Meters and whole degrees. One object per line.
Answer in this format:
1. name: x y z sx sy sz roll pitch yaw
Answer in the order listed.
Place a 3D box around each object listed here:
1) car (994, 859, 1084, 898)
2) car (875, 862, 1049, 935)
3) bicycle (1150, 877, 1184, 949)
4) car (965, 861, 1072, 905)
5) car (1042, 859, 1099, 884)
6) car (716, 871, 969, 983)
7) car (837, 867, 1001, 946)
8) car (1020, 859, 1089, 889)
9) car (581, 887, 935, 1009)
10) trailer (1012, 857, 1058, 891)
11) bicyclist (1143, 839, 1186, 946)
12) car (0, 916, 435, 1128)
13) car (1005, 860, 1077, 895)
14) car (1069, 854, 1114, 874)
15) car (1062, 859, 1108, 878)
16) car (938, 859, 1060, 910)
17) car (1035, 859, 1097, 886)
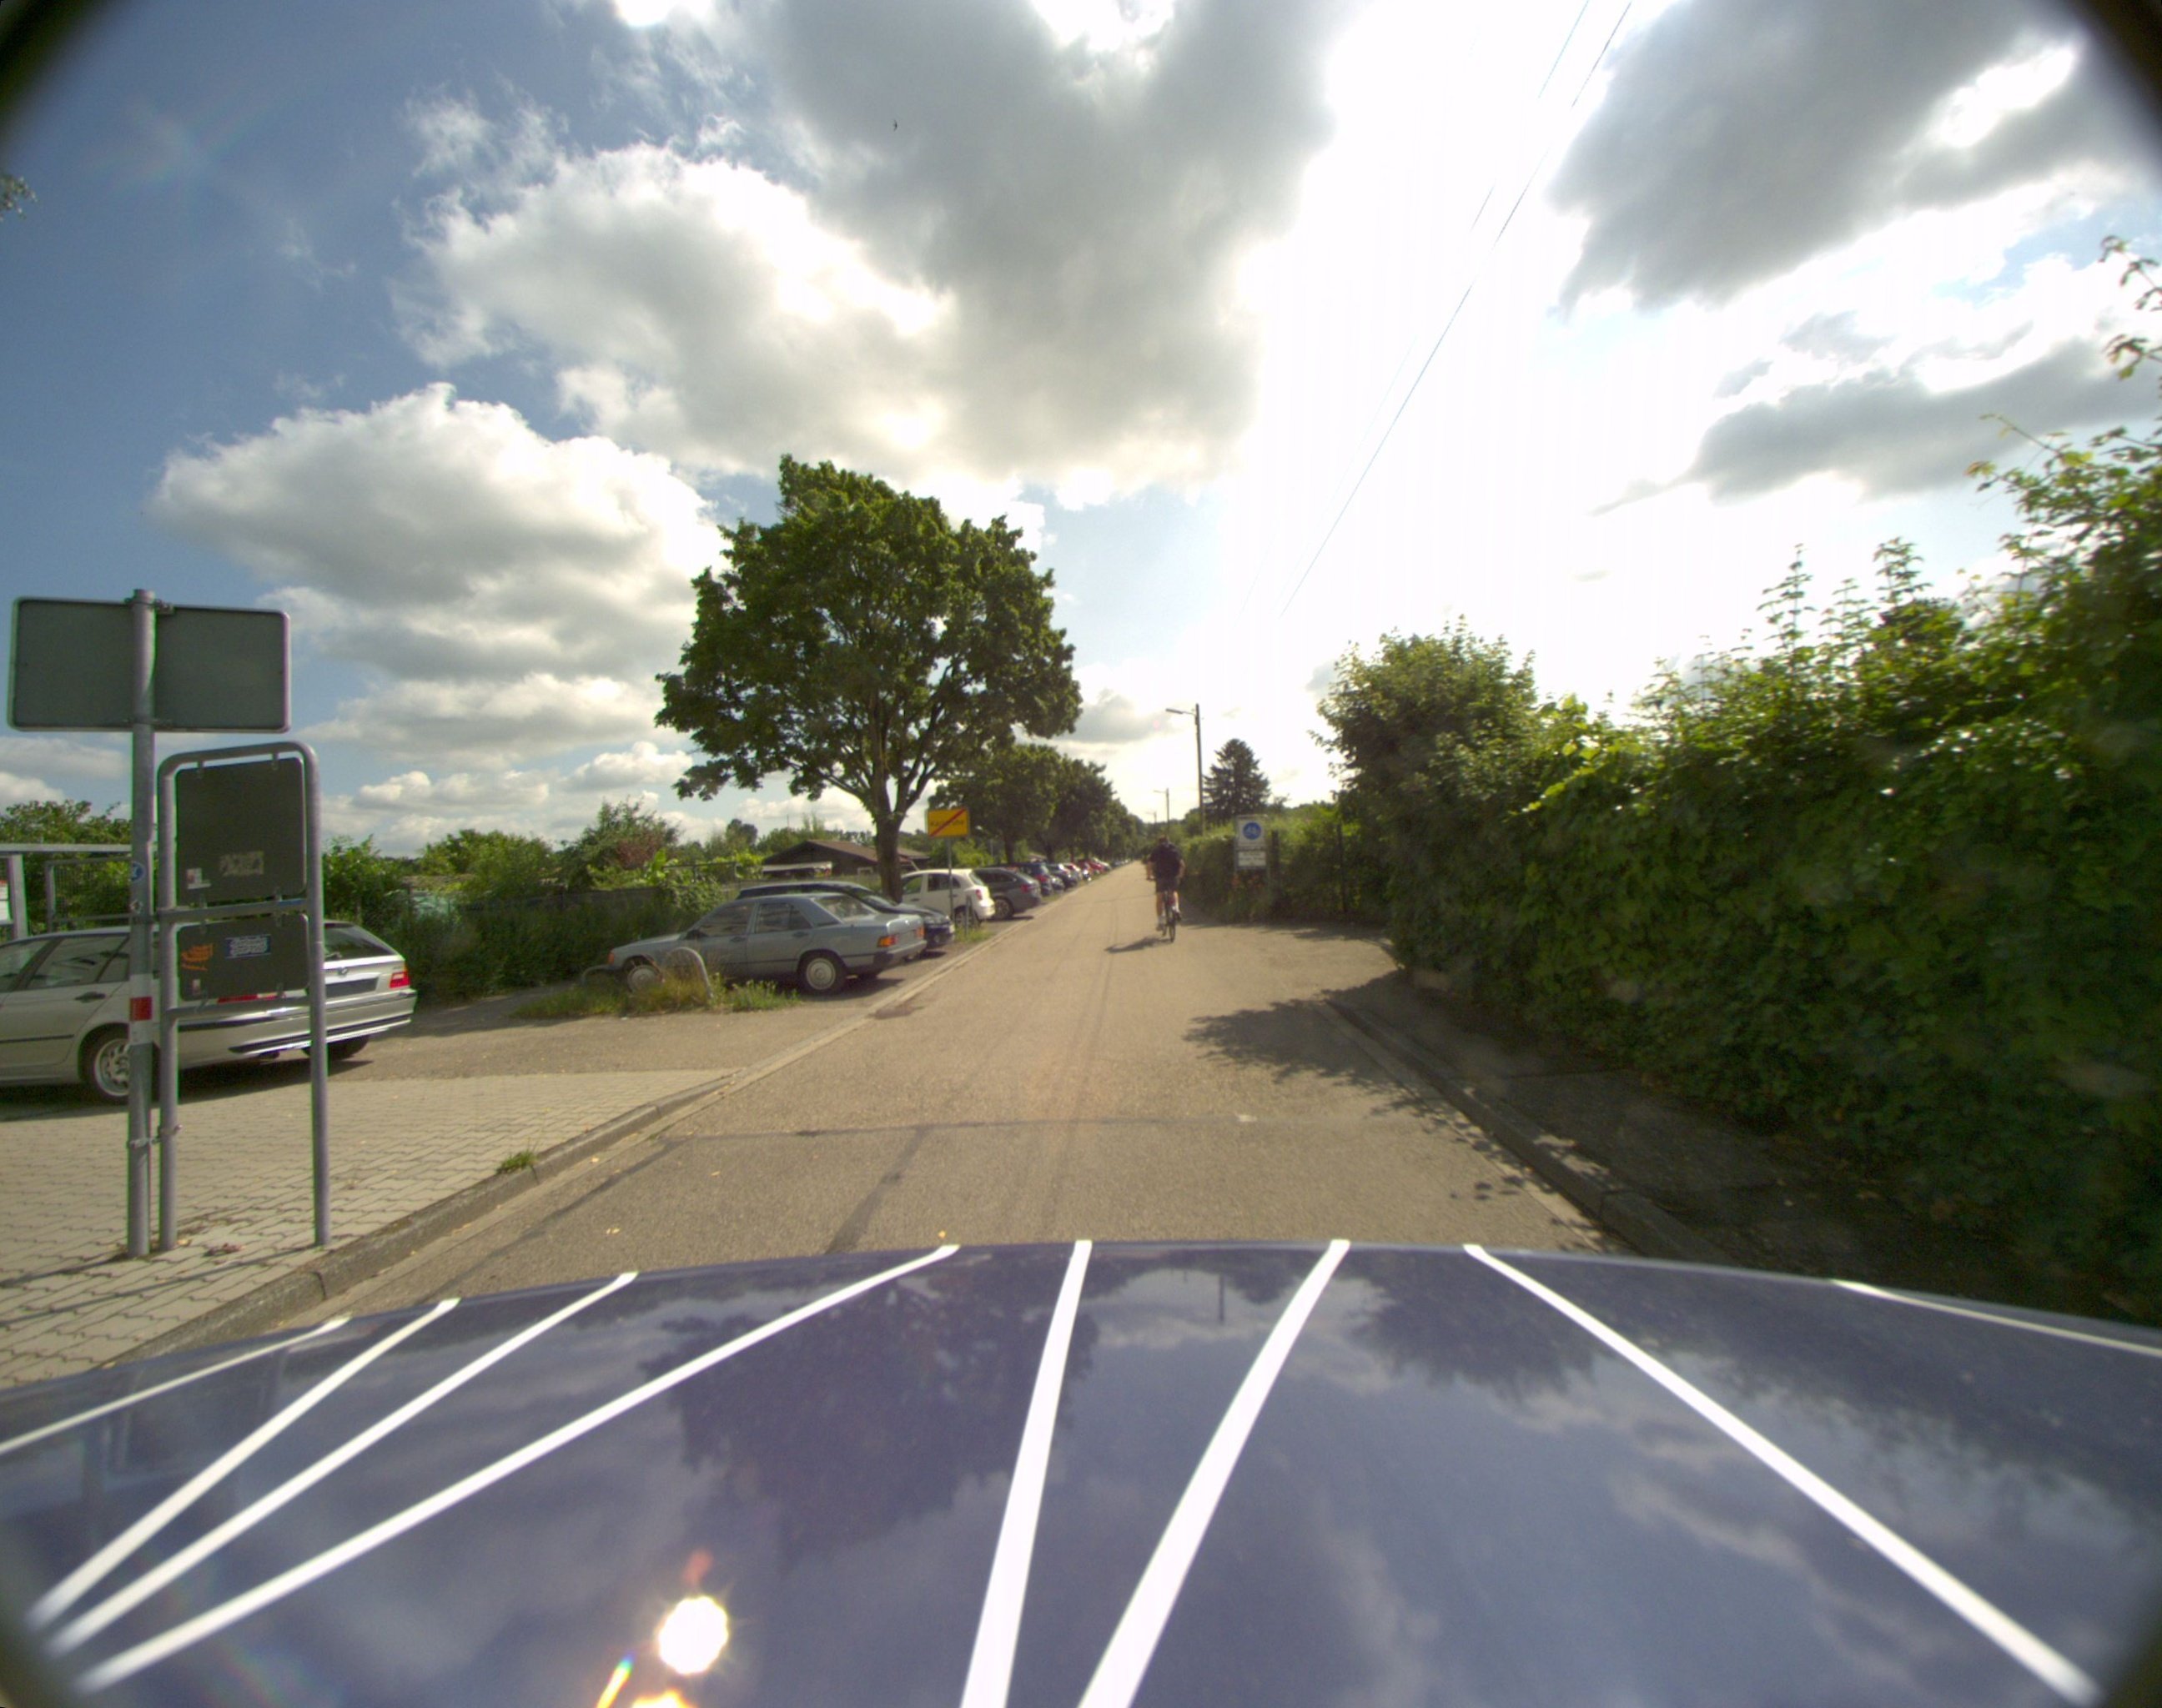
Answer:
1. car: -2.110 1.241 39.088 4.312 1.584 2.000 -5 0 4
2. car: -3.306 1.230 21.757 4.560 1.569 1.809 -5 0 1
3. bicycle: 1.560 1.024 13.691 0.519 1.143 1.828 -2 0 7
4. car: -2.705 1.249 33.612 4.345 1.483 1.976 -5 0 4
5. car: -0.791 1.336 58.978 3.995 1.510 1.855 -5 0 8
6. car: -4.271 1.290 14.063 3.942 1.550 1.868 -5 0 3
7. car: -3.955 1.275 18.947 3.582 1.540 1.667 -5 0 1
8. car: -1.680 1.270 48.845 4.073 1.502 1.959 -5 0 7
9. car: -4.537 1.318 10.970 4.367 1.384 1.719 -3 0 9
10. trailer: -2.692 1.177 44.680 2.456 1.710 1.518 -5 -1 1
11. bicyclist: 1.516 0.671 13.706 0.660 1.841 1.043 -2 0 7
12. car: -8.577 1.404 6.741 4.250 1.422 1.759 -2 0 4
13. car: -2.158 1.271 41.746 3.732 1.531 1.850 -5 0 1
14. car: 1.177 1.084 81.420 4.645 1.875 2.112 -3 0 3
15. car: 0.378 1.391 73.810 4.192 1.495 1.879 -5 0 6
16. car: -3.030 1.117 28.532 4.163 1.628 1.879 -3 0 6
17. car: -0.985 1.284 52.271 4.075 1.447 1.870 -5 0 2
